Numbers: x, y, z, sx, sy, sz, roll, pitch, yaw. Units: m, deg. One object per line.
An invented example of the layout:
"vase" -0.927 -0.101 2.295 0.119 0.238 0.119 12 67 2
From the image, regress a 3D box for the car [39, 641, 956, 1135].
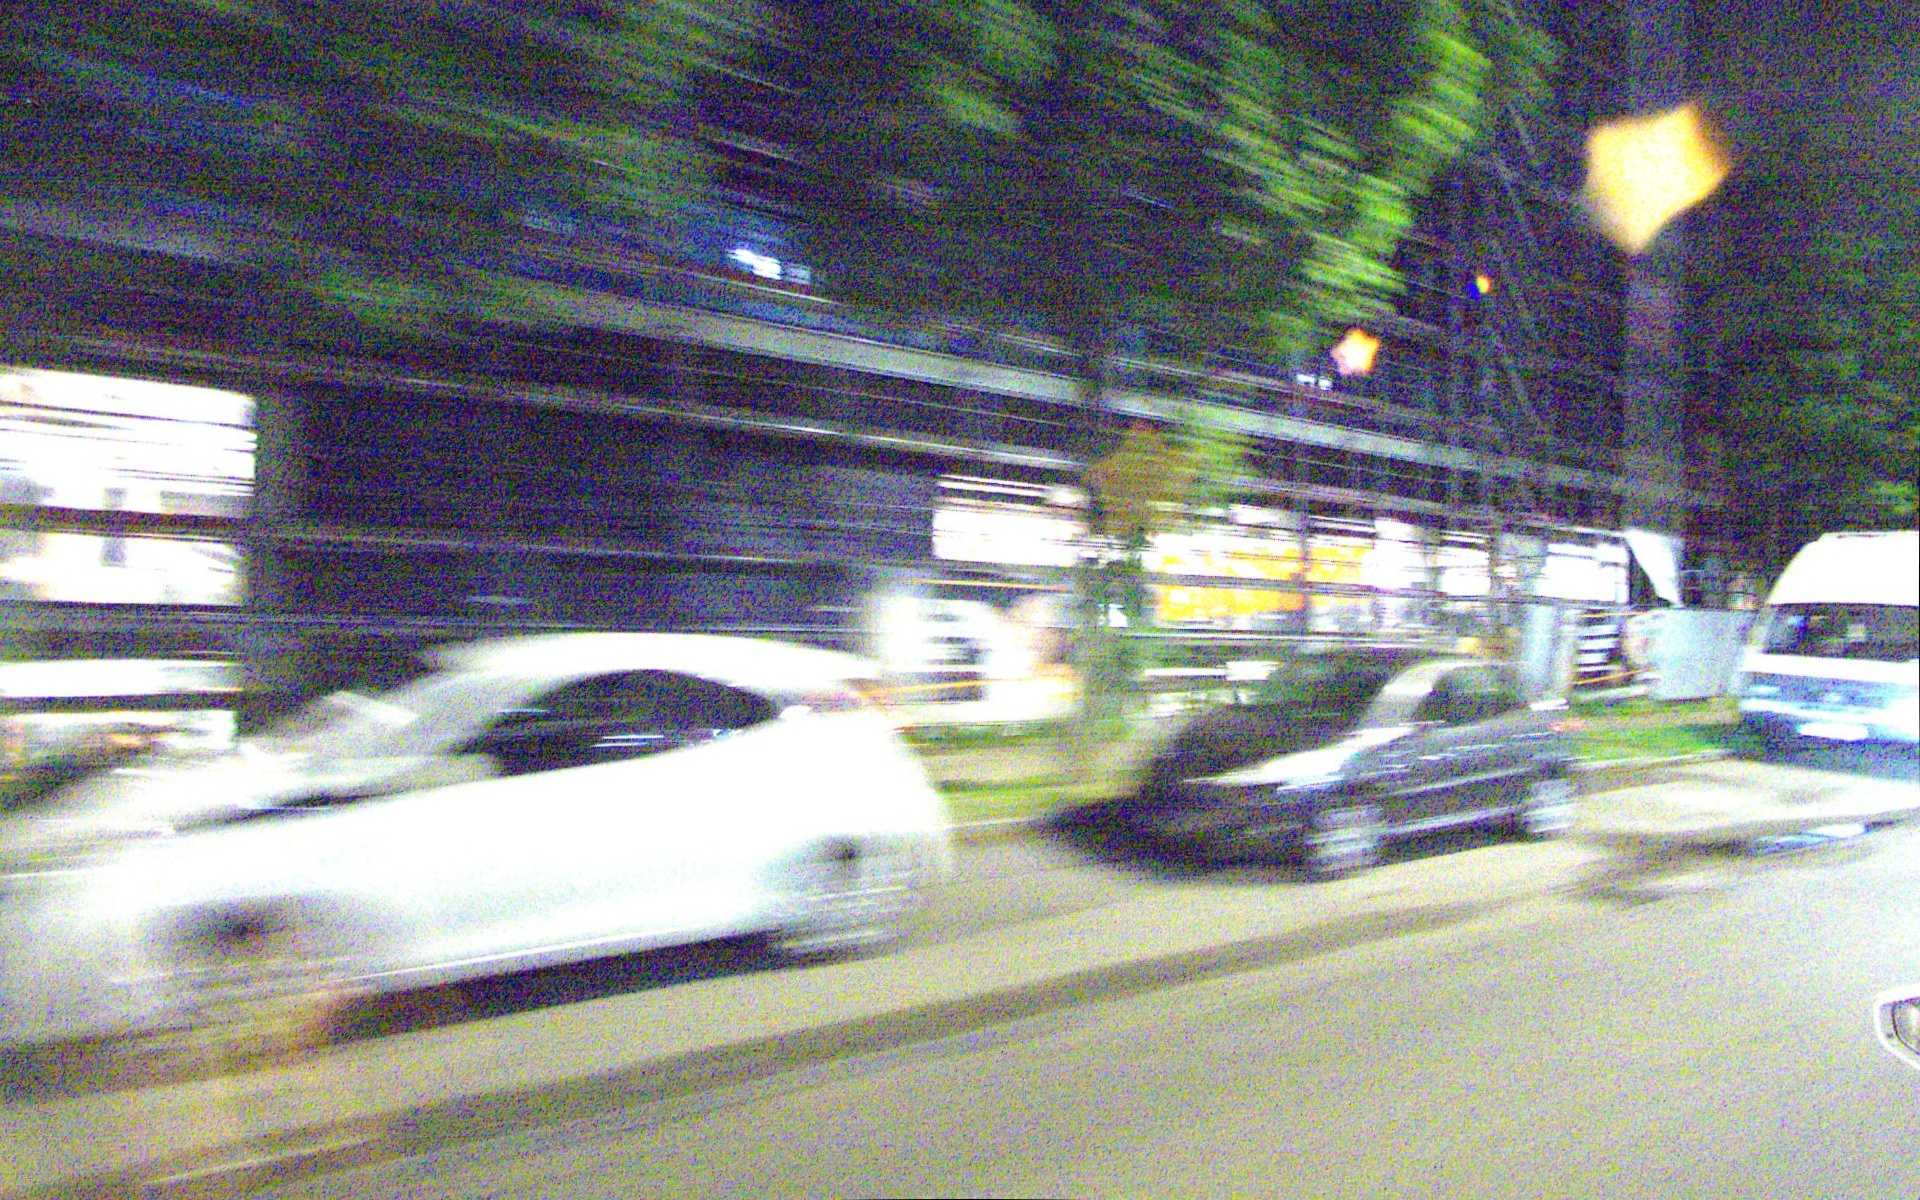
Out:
"car" -1.846 0.969 4.686 3.330 1.475 1.540 1 0 -31

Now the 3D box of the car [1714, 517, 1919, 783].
"car" 12.281 0.600 13.148 4.854 2.948 2.168 1 0 -31

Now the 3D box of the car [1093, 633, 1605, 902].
"car" 3.042 1.071 7.679 3.817 1.525 1.637 2 1 -31
